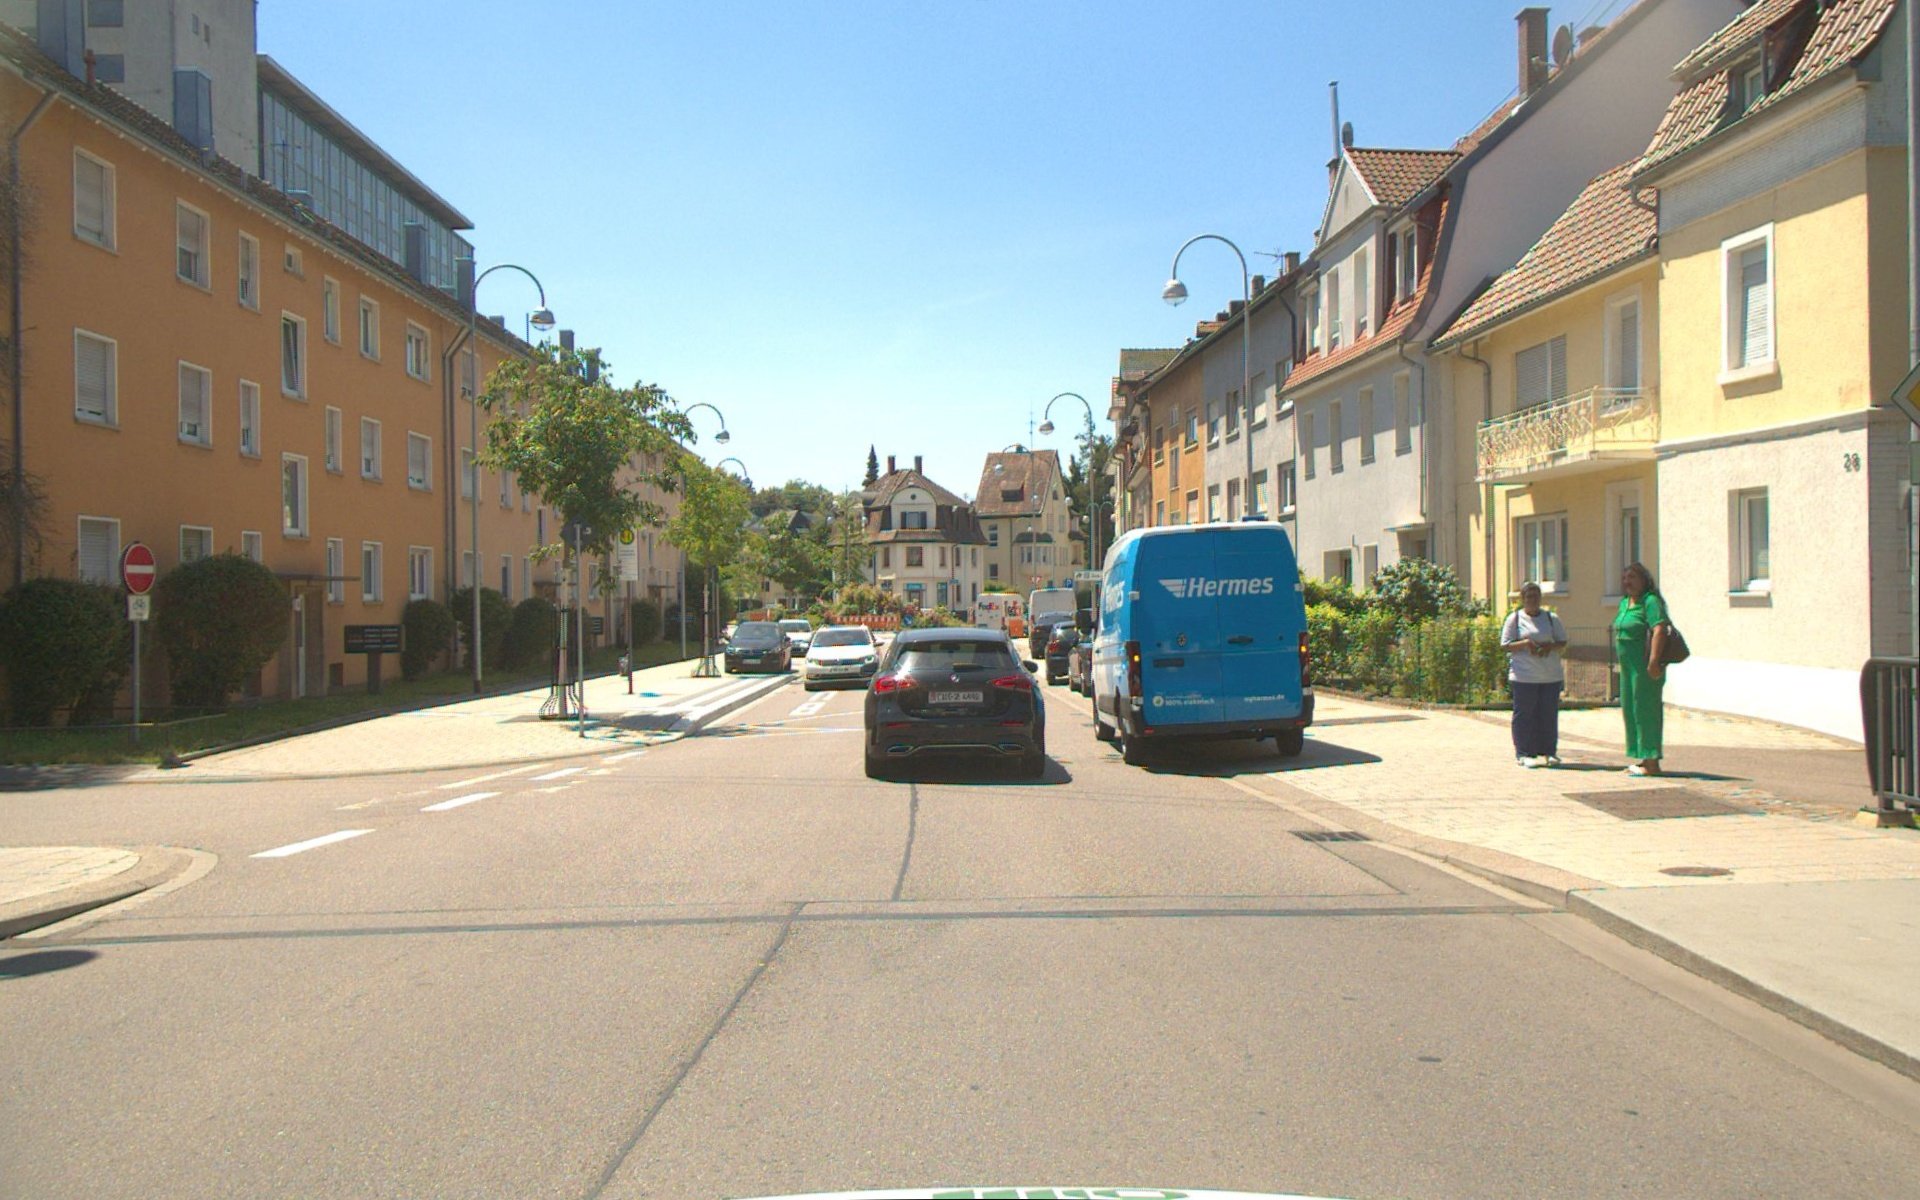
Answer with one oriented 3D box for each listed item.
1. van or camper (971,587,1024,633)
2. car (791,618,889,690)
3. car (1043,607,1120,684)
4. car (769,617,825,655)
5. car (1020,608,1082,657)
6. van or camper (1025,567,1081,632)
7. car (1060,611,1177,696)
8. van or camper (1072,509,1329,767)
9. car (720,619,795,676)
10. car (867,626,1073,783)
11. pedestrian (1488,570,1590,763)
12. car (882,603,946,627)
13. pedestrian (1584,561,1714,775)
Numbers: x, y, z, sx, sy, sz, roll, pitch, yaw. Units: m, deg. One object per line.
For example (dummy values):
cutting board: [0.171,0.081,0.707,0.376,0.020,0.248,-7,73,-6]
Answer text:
van or camper: [2.272,0.585,98.753,2.159,2.656,4.002,0,0,17]
car: [-2.810,1.244,39.602,1.952,1.533,4.288,-1,0,1]
car: [2.935,1.067,40.376,1.692,1.661,4.002,-3,0,3]
car: [-6.537,1.421,66.621,1.953,1.445,4.086,-1,0,-2]
car: [3.365,1.165,60.463,1.855,1.635,4.368,-3,-1,8]
van or camper: [4.005,-0.008,71.992,2.120,2.634,5.766,-2,0,1]
car: [3.199,1.045,34.227,1.767,1.500,4.719,-4,0,-1]
van or camper: [2.652,0.429,19.885,2.065,2.510,6.175,-3,-1,0]
car: [-6.060,1.383,49.923,1.820,1.533,4.560,-1,0,-2]
car: [0.088,1.013,17.372,1.913,1.452,3.999,0,-1,0]
pedestrian: [5.269,0.594,15.071,0.624,1.683,0.521,-4,0,-4]
car: [-2.976,0.956,106.811,3.903,1.512,1.969,1,0,5]
pedestrian: [5.858,0.565,14.090,0.512,1.736,0.799,-4,0,-21]
